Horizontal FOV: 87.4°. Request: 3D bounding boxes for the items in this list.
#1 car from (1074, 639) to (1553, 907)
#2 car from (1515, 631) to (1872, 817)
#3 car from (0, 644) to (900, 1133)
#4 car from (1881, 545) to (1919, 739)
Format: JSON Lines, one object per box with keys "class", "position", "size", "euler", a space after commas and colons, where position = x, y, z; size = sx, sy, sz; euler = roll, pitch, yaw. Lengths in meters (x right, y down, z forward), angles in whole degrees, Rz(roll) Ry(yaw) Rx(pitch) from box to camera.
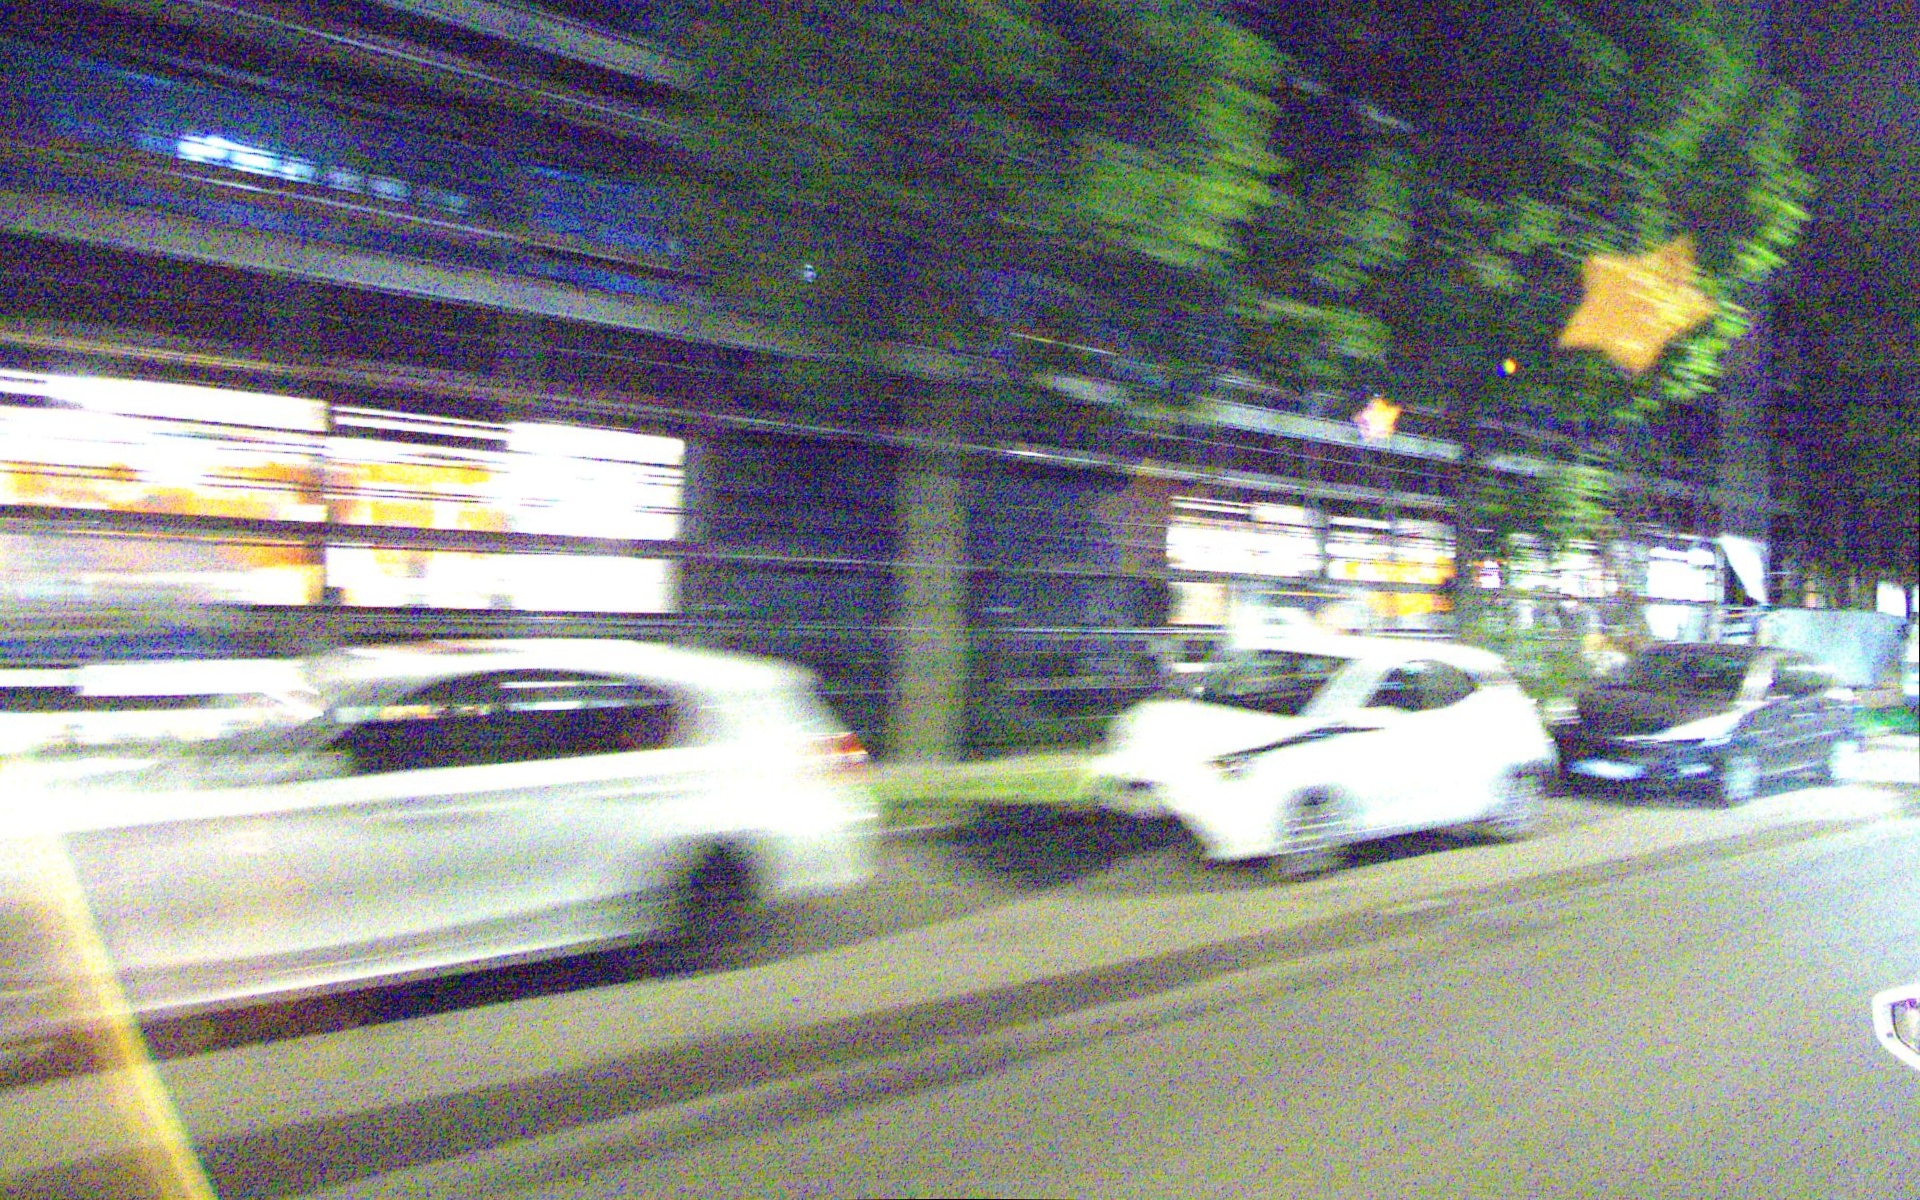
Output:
{"class": "car", "position": [2.634, 1.061, 7.352], "size": [3.329, 1.475, 1.540], "euler": [1, 0, -31]}
{"class": "car", "position": [7.648, 1.131, 10.403], "size": [3.817, 1.525, 1.637], "euler": [1, 1, -31]}
{"class": "car", "position": [-2.313, 0.974, 4.454], "size": [3.859, 1.449, 1.437], "euler": [1, 1, -31]}
{"class": "car", "position": [16.979, 0.683, 15.959], "size": [4.854, 2.948, 2.168], "euler": [1, 0, -31]}
